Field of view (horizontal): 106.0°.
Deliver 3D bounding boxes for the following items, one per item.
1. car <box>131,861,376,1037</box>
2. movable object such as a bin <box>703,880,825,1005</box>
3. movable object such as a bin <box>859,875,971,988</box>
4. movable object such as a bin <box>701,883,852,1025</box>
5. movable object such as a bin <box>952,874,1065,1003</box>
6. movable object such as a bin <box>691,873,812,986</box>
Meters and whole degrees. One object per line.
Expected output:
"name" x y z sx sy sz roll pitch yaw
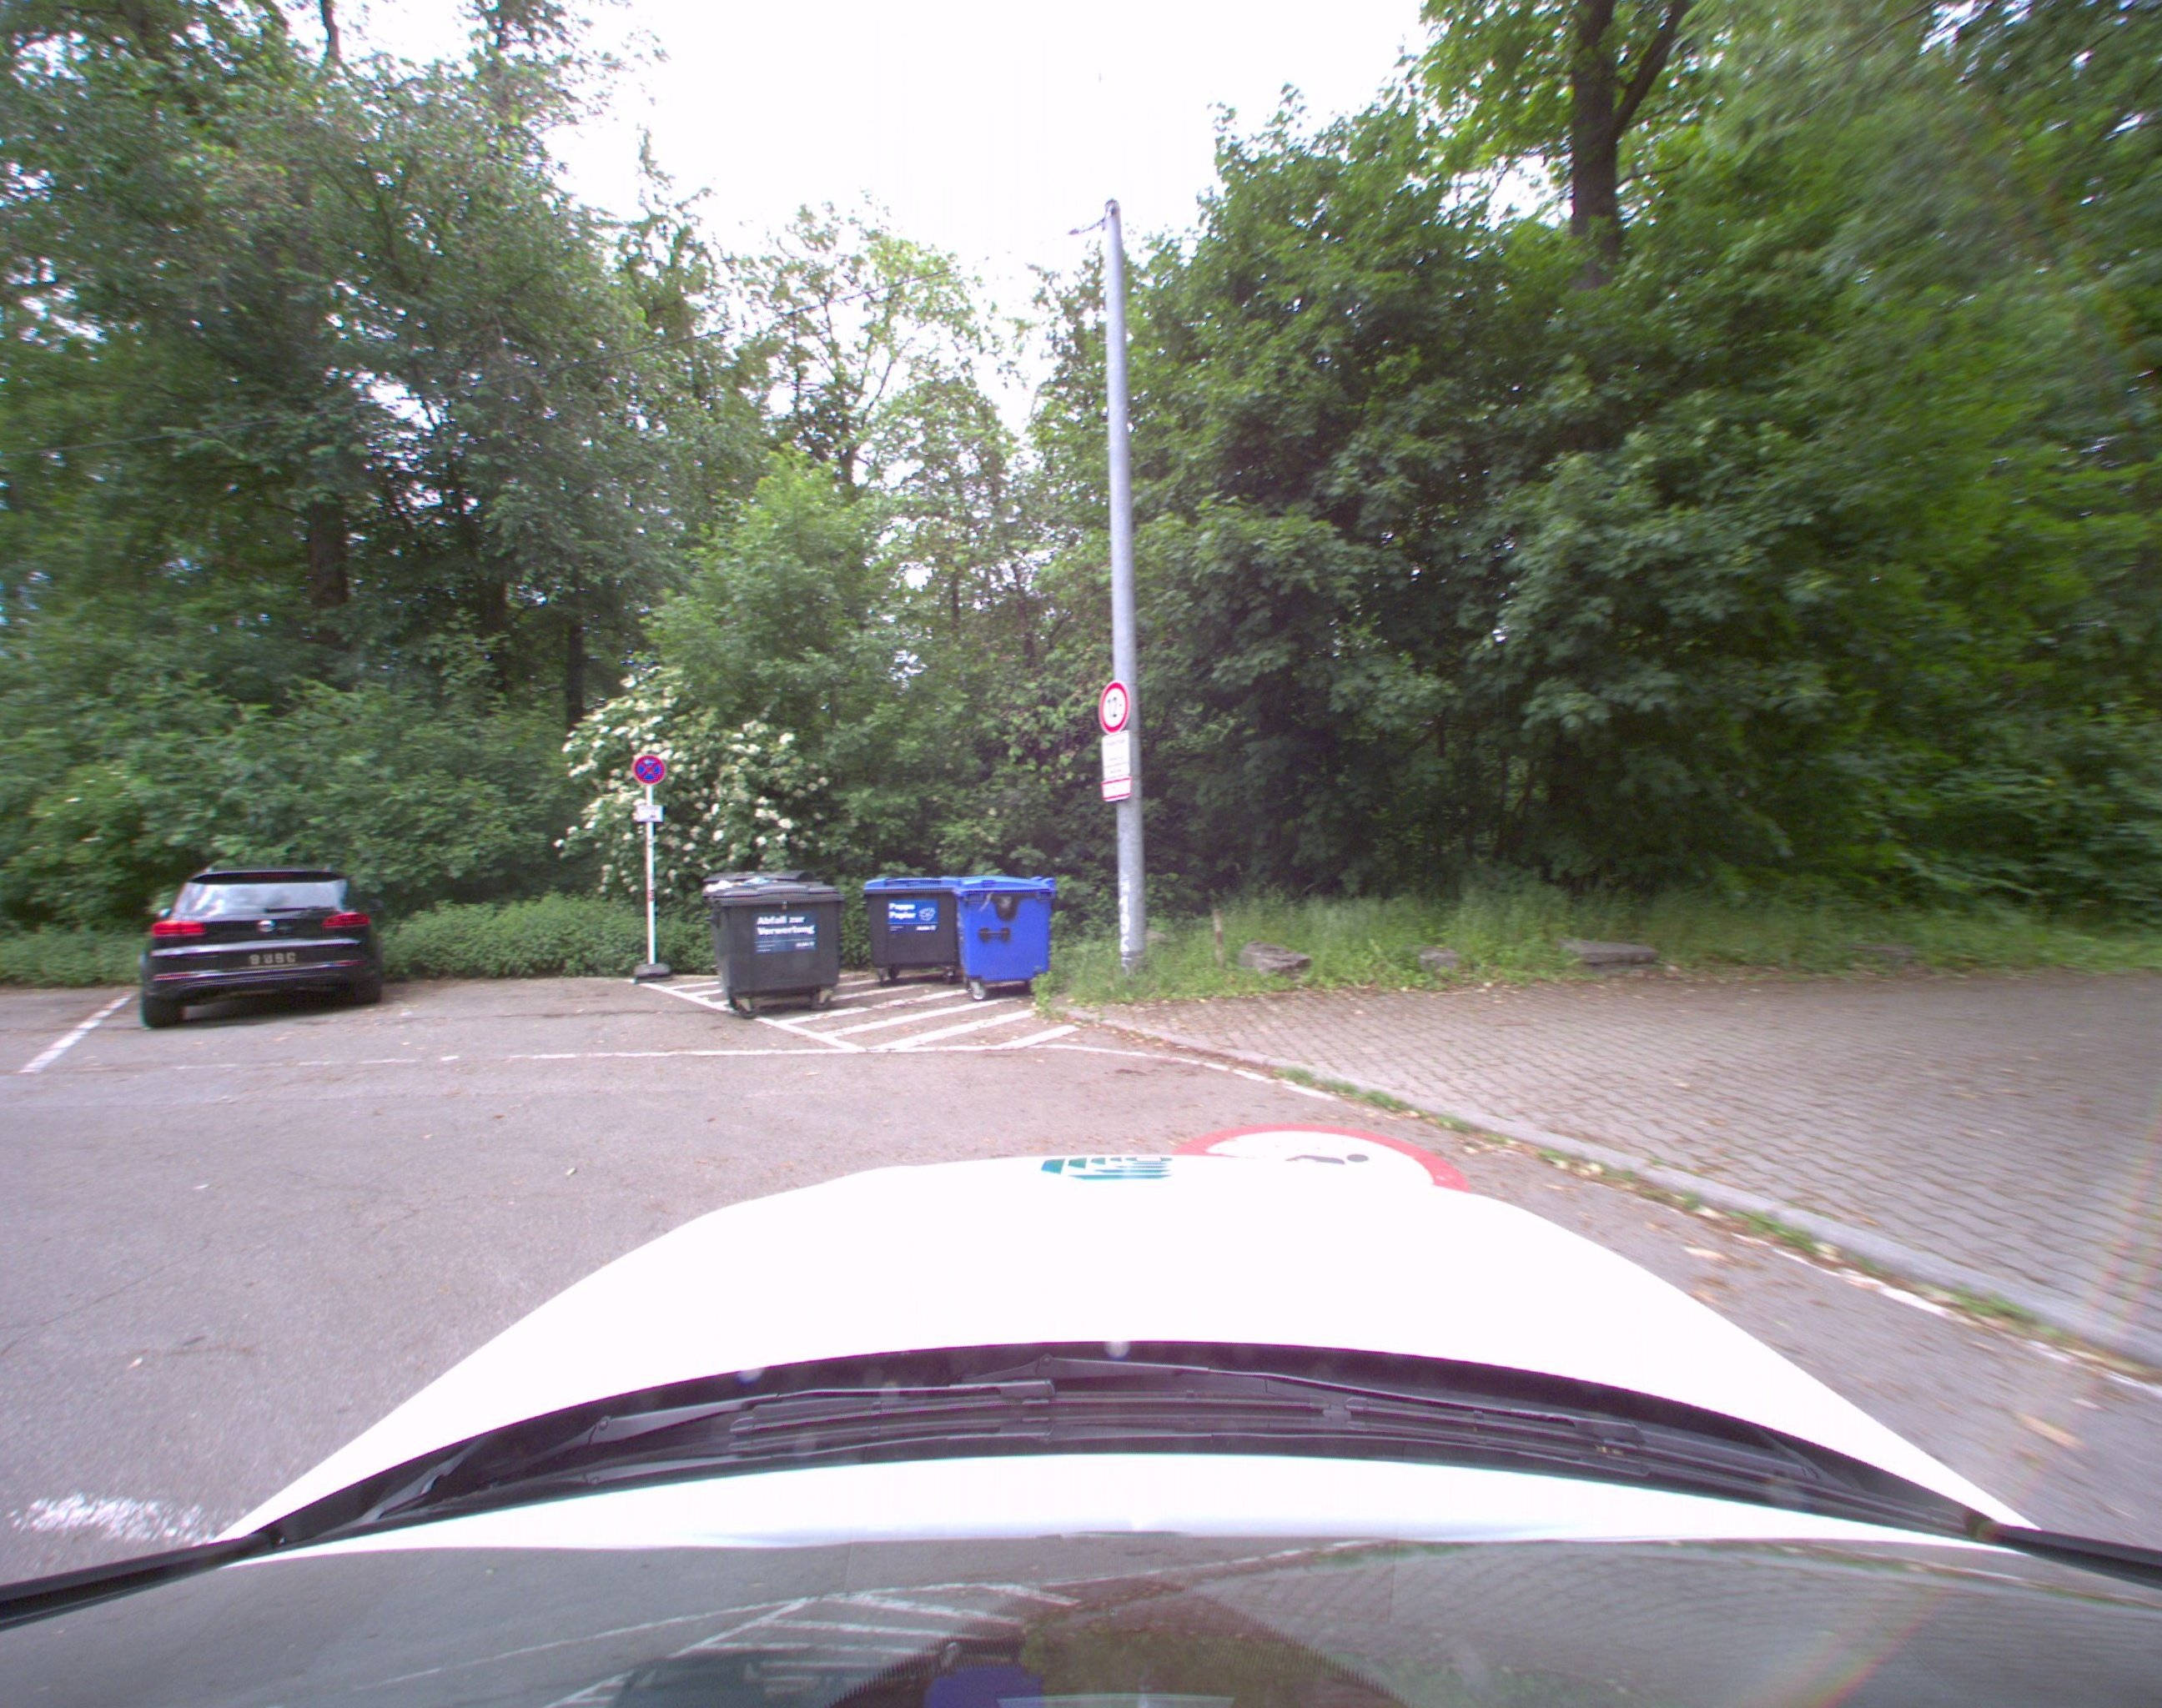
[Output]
"car" -9.945 0.974 9.986 1.794 1.685 4.021 -1 -1 -43
"movable object such as a bin" -3.770 0.987 9.648 1.188 1.315 1.116 -1 -1 -29
"movable object such as a bin" -2.084 0.951 10.416 1.234 1.320 1.125 -1 -1 -4
"movable object such as a bin" -3.233 0.983 8.594 1.317 1.307 1.161 -1 -1 -29
"movable object such as a bin" -0.869 0.912 9.373 1.143 1.325 1.252 -1 -1 -12
"movable object such as a bin" -4.467 0.994 11.130 1.122 1.425 1.128 -1 -1 4
